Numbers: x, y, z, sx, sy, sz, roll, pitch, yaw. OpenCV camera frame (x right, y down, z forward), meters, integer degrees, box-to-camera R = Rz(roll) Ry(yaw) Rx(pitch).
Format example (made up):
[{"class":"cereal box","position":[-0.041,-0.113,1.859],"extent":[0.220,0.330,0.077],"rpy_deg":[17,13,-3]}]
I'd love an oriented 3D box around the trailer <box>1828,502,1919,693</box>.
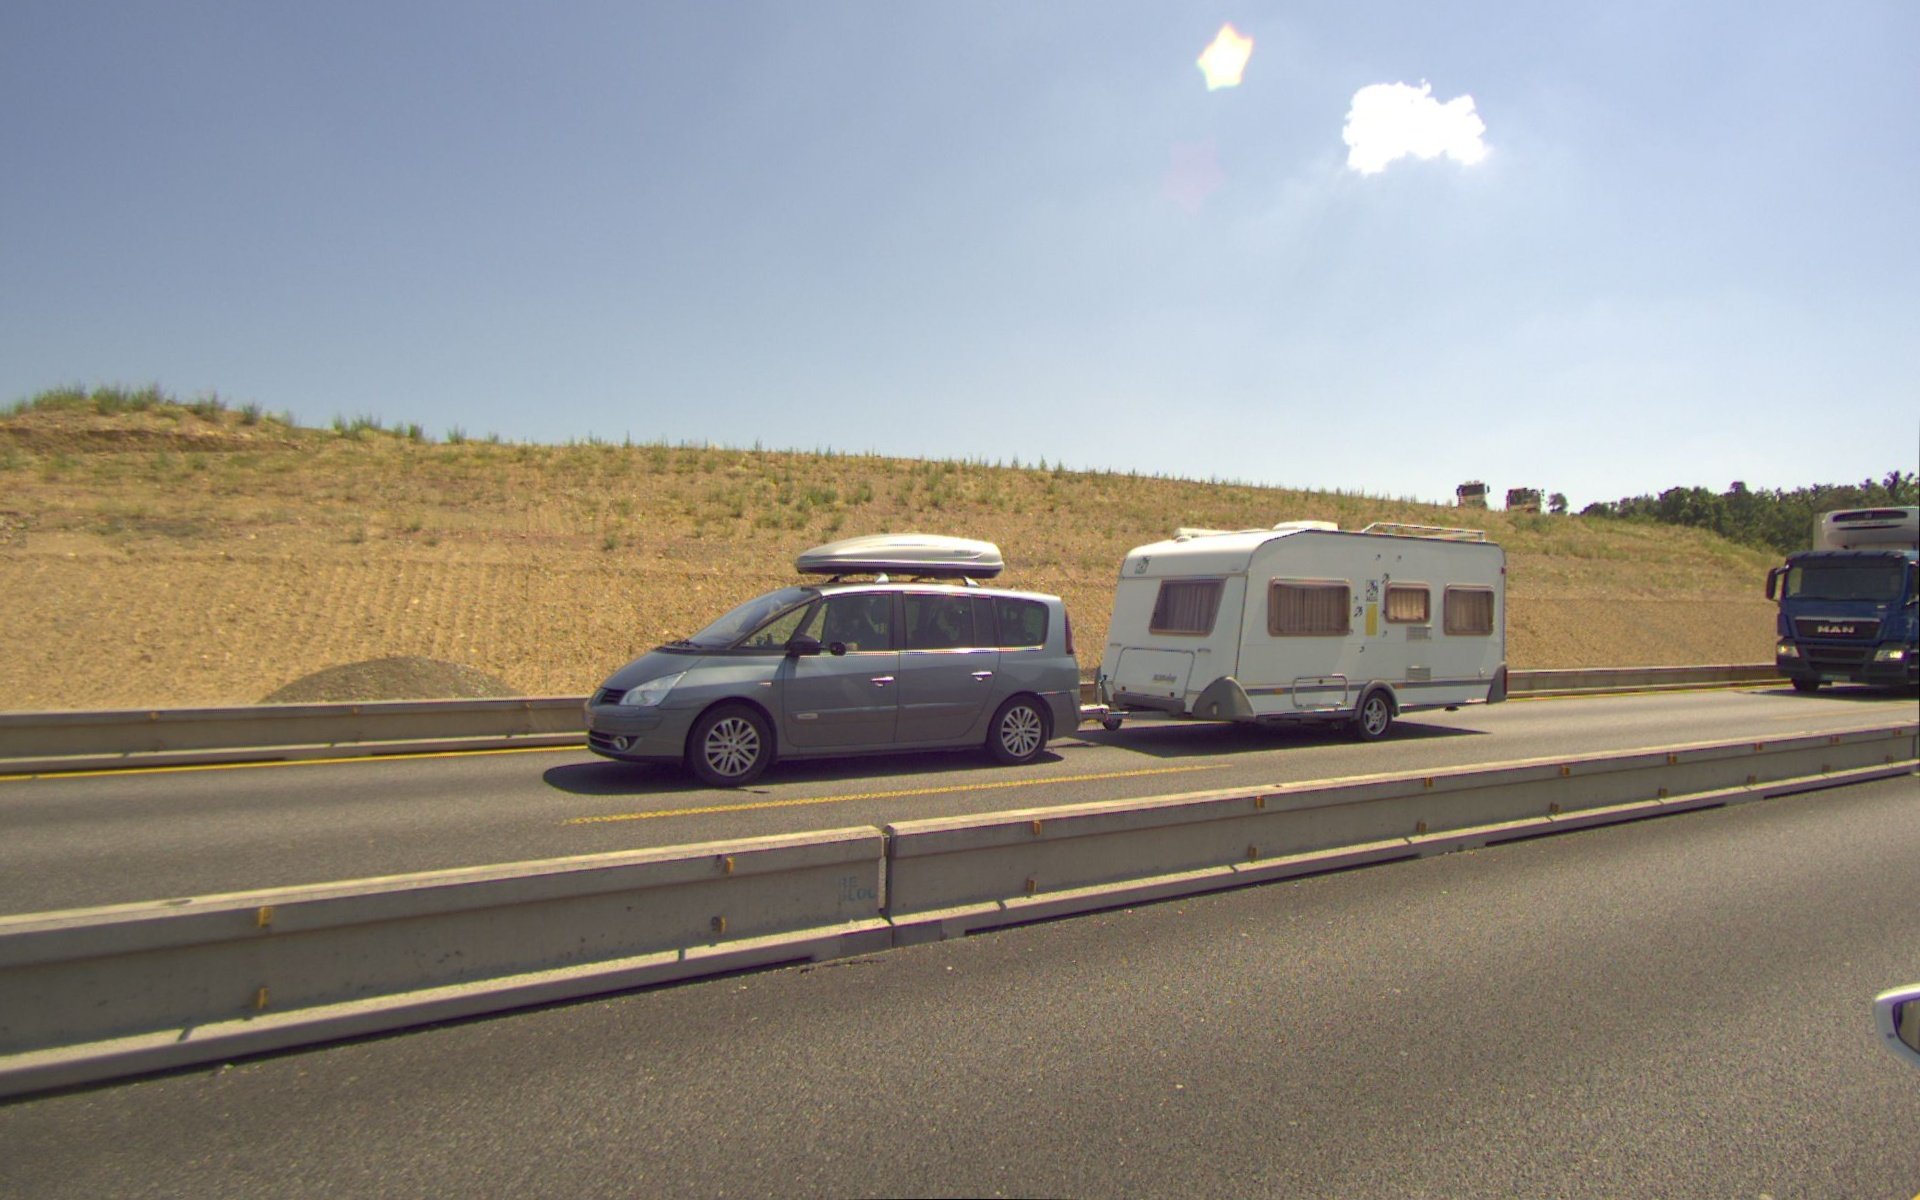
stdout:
[{"class":"trailer","position":[27.808,0.105,26.511],"extent":[15.348,4.234,2.491],"rpy_deg":[1,-2,-30]}]

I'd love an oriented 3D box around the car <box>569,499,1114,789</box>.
[{"class":"car","position":[-1.034,0.422,9.646],"extent":[4.807,2.183,1.984],"rpy_deg":[2,-2,-30]}]

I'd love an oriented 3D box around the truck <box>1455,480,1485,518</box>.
[{"class":"truck","position":[52.212,-10.235,102.990],"extent":[2.317,2.937,8.361],"rpy_deg":[2,0,24]}]

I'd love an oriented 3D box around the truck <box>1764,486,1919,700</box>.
[{"class":"truck","position":[20.868,-0.053,22.480],"extent":[5.840,4.254,2.481],"rpy_deg":[1,-2,-29]}]

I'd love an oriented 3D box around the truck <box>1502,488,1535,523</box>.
[{"class":"truck","position":[59.146,-9.894,106.427],"extent":[2.259,2.785,8.900],"rpy_deg":[2,0,24]}]

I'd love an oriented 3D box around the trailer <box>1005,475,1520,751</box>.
[{"class":"trailer","position":[3.978,0.217,12.597],"extent":[6.677,2.722,2.300],"rpy_deg":[1,-2,-31]}]
